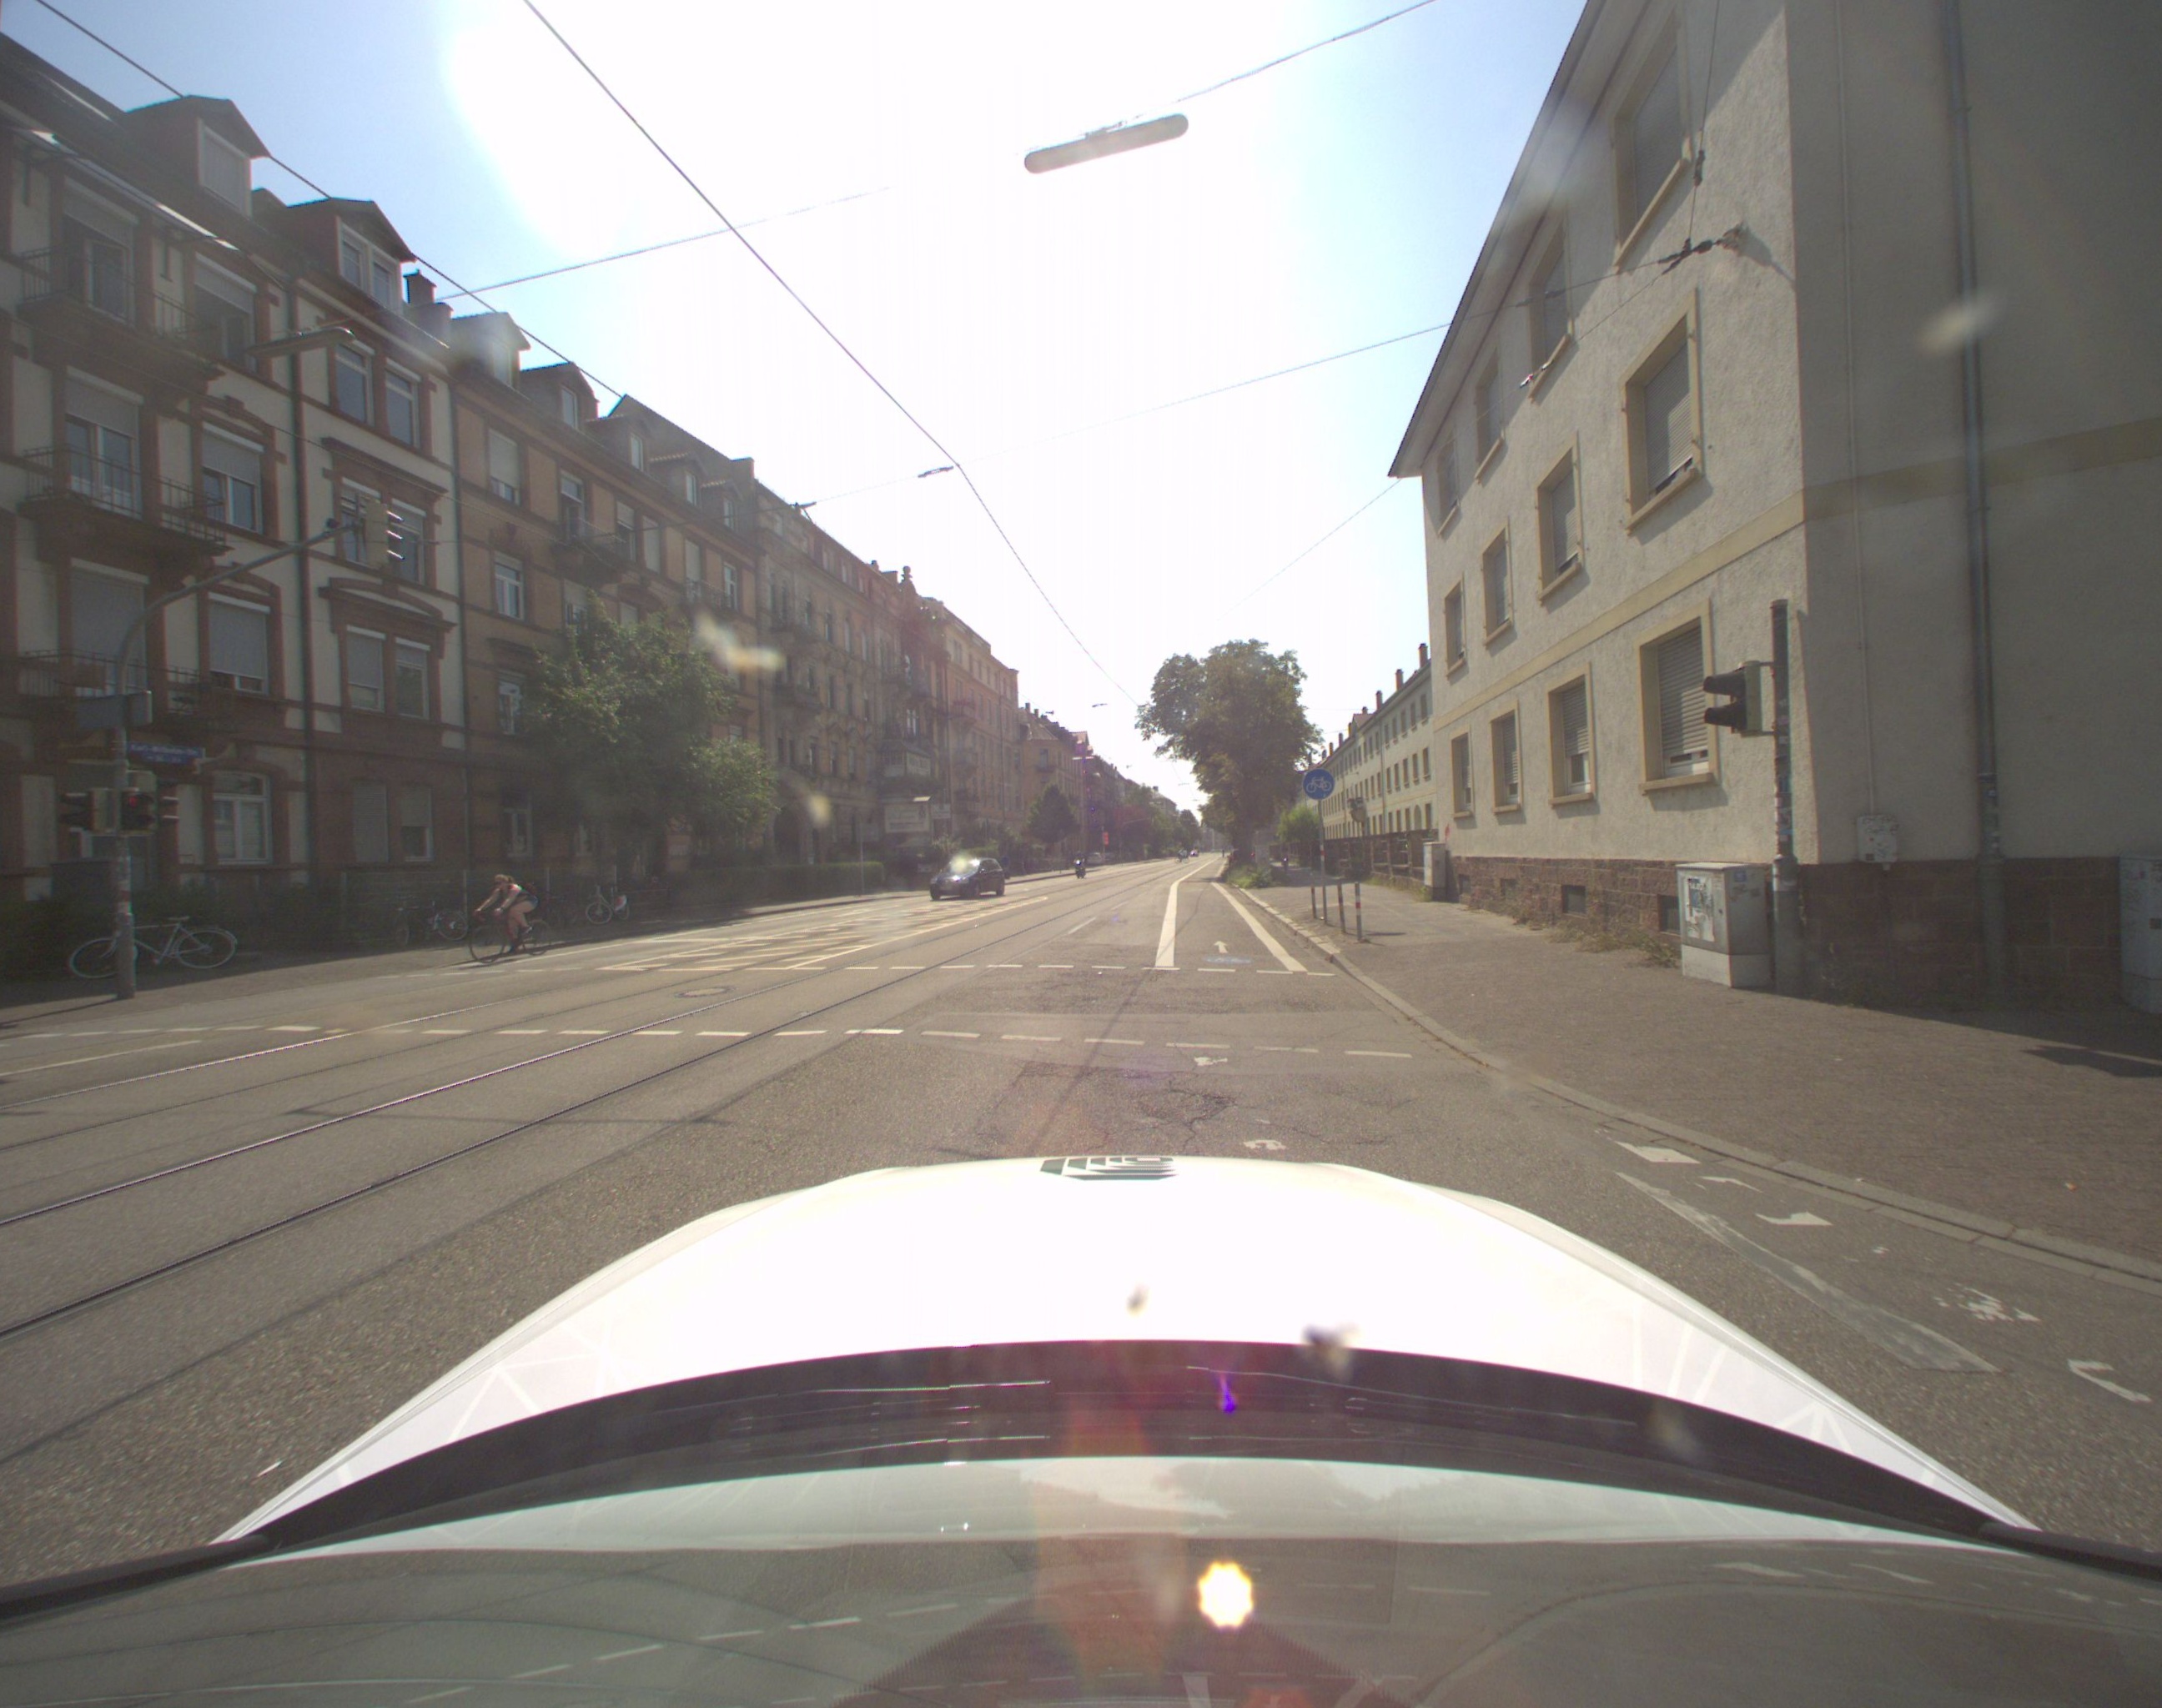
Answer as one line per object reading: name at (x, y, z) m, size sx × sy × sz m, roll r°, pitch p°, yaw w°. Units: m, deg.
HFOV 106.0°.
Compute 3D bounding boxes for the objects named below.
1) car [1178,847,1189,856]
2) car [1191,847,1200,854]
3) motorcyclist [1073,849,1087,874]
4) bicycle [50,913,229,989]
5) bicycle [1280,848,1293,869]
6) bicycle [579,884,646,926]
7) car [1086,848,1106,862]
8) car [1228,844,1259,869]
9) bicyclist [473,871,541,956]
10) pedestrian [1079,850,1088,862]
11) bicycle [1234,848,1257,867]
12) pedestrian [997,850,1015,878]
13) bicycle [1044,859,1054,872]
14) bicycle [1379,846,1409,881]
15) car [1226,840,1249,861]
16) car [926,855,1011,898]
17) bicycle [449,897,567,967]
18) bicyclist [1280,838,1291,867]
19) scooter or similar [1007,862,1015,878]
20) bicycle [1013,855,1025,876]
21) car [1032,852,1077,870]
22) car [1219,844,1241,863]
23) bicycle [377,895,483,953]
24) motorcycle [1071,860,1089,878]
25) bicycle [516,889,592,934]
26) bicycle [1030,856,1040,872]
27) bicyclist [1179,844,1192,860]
car at (19.369, -0.489, 154.007) m, size 1.816 × 1.540 × 4.011 m, roll -3°, pitch 0°, yaw 10°
car at (26.452, -0.815, 187.662) m, size 1.721 × 1.490 × 4.011 m, roll -3°, pitch 0°, yaw 10°
motorcyclist at (-0.043, 0.479, 50.943) m, size 0.685 × 1.511 × 0.775 m, roll -3°, pitch 0°, yaw 11°
bicycle at (-15.287, 1.554, 13.305) m, size 1.840 × 0.997 × 0.483 m, roll -3°, pitch 0°, yaw -42°
bicycle at (10.760, 0.238, 42.676) m, size 0.438 × 1.047 × 1.833 m, roll -3°, pitch 0°, yaw 7°
bicycle at (-12.412, 1.334, 21.630) m, size 0.484 × 0.986 × 1.663 m, roll -2°, pitch 0°, yaw 14°
car at (1.884, 0.083, 101.169) m, size 1.983 × 1.594 × 4.368 m, roll -3°, pitch 0°, yaw 7°
car at (10.947, 0.125, 54.657) m, size 1.604 × 1.530 × 3.515 m, roll -4°, pitch 0°, yaw 17°
bicyclist at (-10.514, 1.071, 14.941) m, size 0.577 × 1.470 × 0.778 m, roll -3°, pitch 0°, yaw 10°
pedestrian at (0.348, 0.250, 108.159) m, size 0.886 × 1.511 × 0.864 m, roll -2°, pitch 0°, yaw -21°
bicycle at (9.843, 0.211, 48.699) m, size 1.395 × 1.108 × 0.386 m, roll -3°, pitch 0°, yaw -26°
pedestrian at (-4.767, 0.628, 51.891) m, size 0.878 × 1.756 × 0.873 m, roll -3°, pitch 0°, yaw 10°
bicycle at (-2.692, 0.921, 68.234) m, size 0.387 × 1.038 × 1.839 m, roll -2°, pitch 0°, yaw 11°
bicycle at (10.044, 0.290, 26.165) m, size 0.438 × 1.047 × 1.833 m, roll -3°, pitch 0°, yaw 7°
car at (12.035, -0.277, 62.546) m, size 1.607 × 1.477 × 4.051 m, roll -4°, pitch 0°, yaw 11°
car at (-4.172, 0.801, 30.801) m, size 1.715 × 1.433 × 4.193 m, roll -1°, pitch 1°, yaw 14°
bicycle at (-10.491, 1.406, 15.000) m, size 0.577 × 1.066 × 1.849 m, roll -3°, pitch 0°, yaw 10°
bicyclist at (10.756, -0.074, 42.757) m, size 0.435 × 1.512 × 0.473 m, roll -3°, pitch 0°, yaw 7°
scooter or similar at (-4.415, 0.994, 51.297) m, size 0.398 × 0.982 × 0.585 m, roll -1°, pitch 0°, yaw 2°
bicycle at (-4.405, 0.827, 57.997) m, size 0.387 × 1.406 × 1.587 m, roll -2°, pitch 0°, yaw 11°
car at (-2.586, 0.688, 80.040) m, size 4.074 × 1.594 × 1.885 m, roll -2°, pitch 0°, yaw 12°
car at (13.376, -0.050, 72.852) m, size 1.744 × 1.477 × 4.471 m, roll -6°, pitch -1°, yaw 11°
bicycle at (-13.664, 1.448, 17.166) m, size 0.484 × 1.021 × 1.784 m, roll -2°, pitch 0°, yaw 14°
motorcycle at (-0.038, 0.901, 50.881) m, size 0.687 × 1.031 × 2.164 m, roll -3°, pitch 0°, yaw 12°
bicycle at (-12.886, 1.385, 19.965) m, size 0.484 × 0.941 × 1.663 m, roll -2°, pitch 0°, yaw 14°
bicycle at (-3.527, 0.754, 62.628) m, size 0.387 × 1.147 × 1.587 m, roll -2°, pitch 0°, yaw 11°
bicyclist at (12.372, -0.246, 96.655) m, size 1.114 × 1.837 × 0.962 m, roll -3°, pitch -1°, yaw 42°
